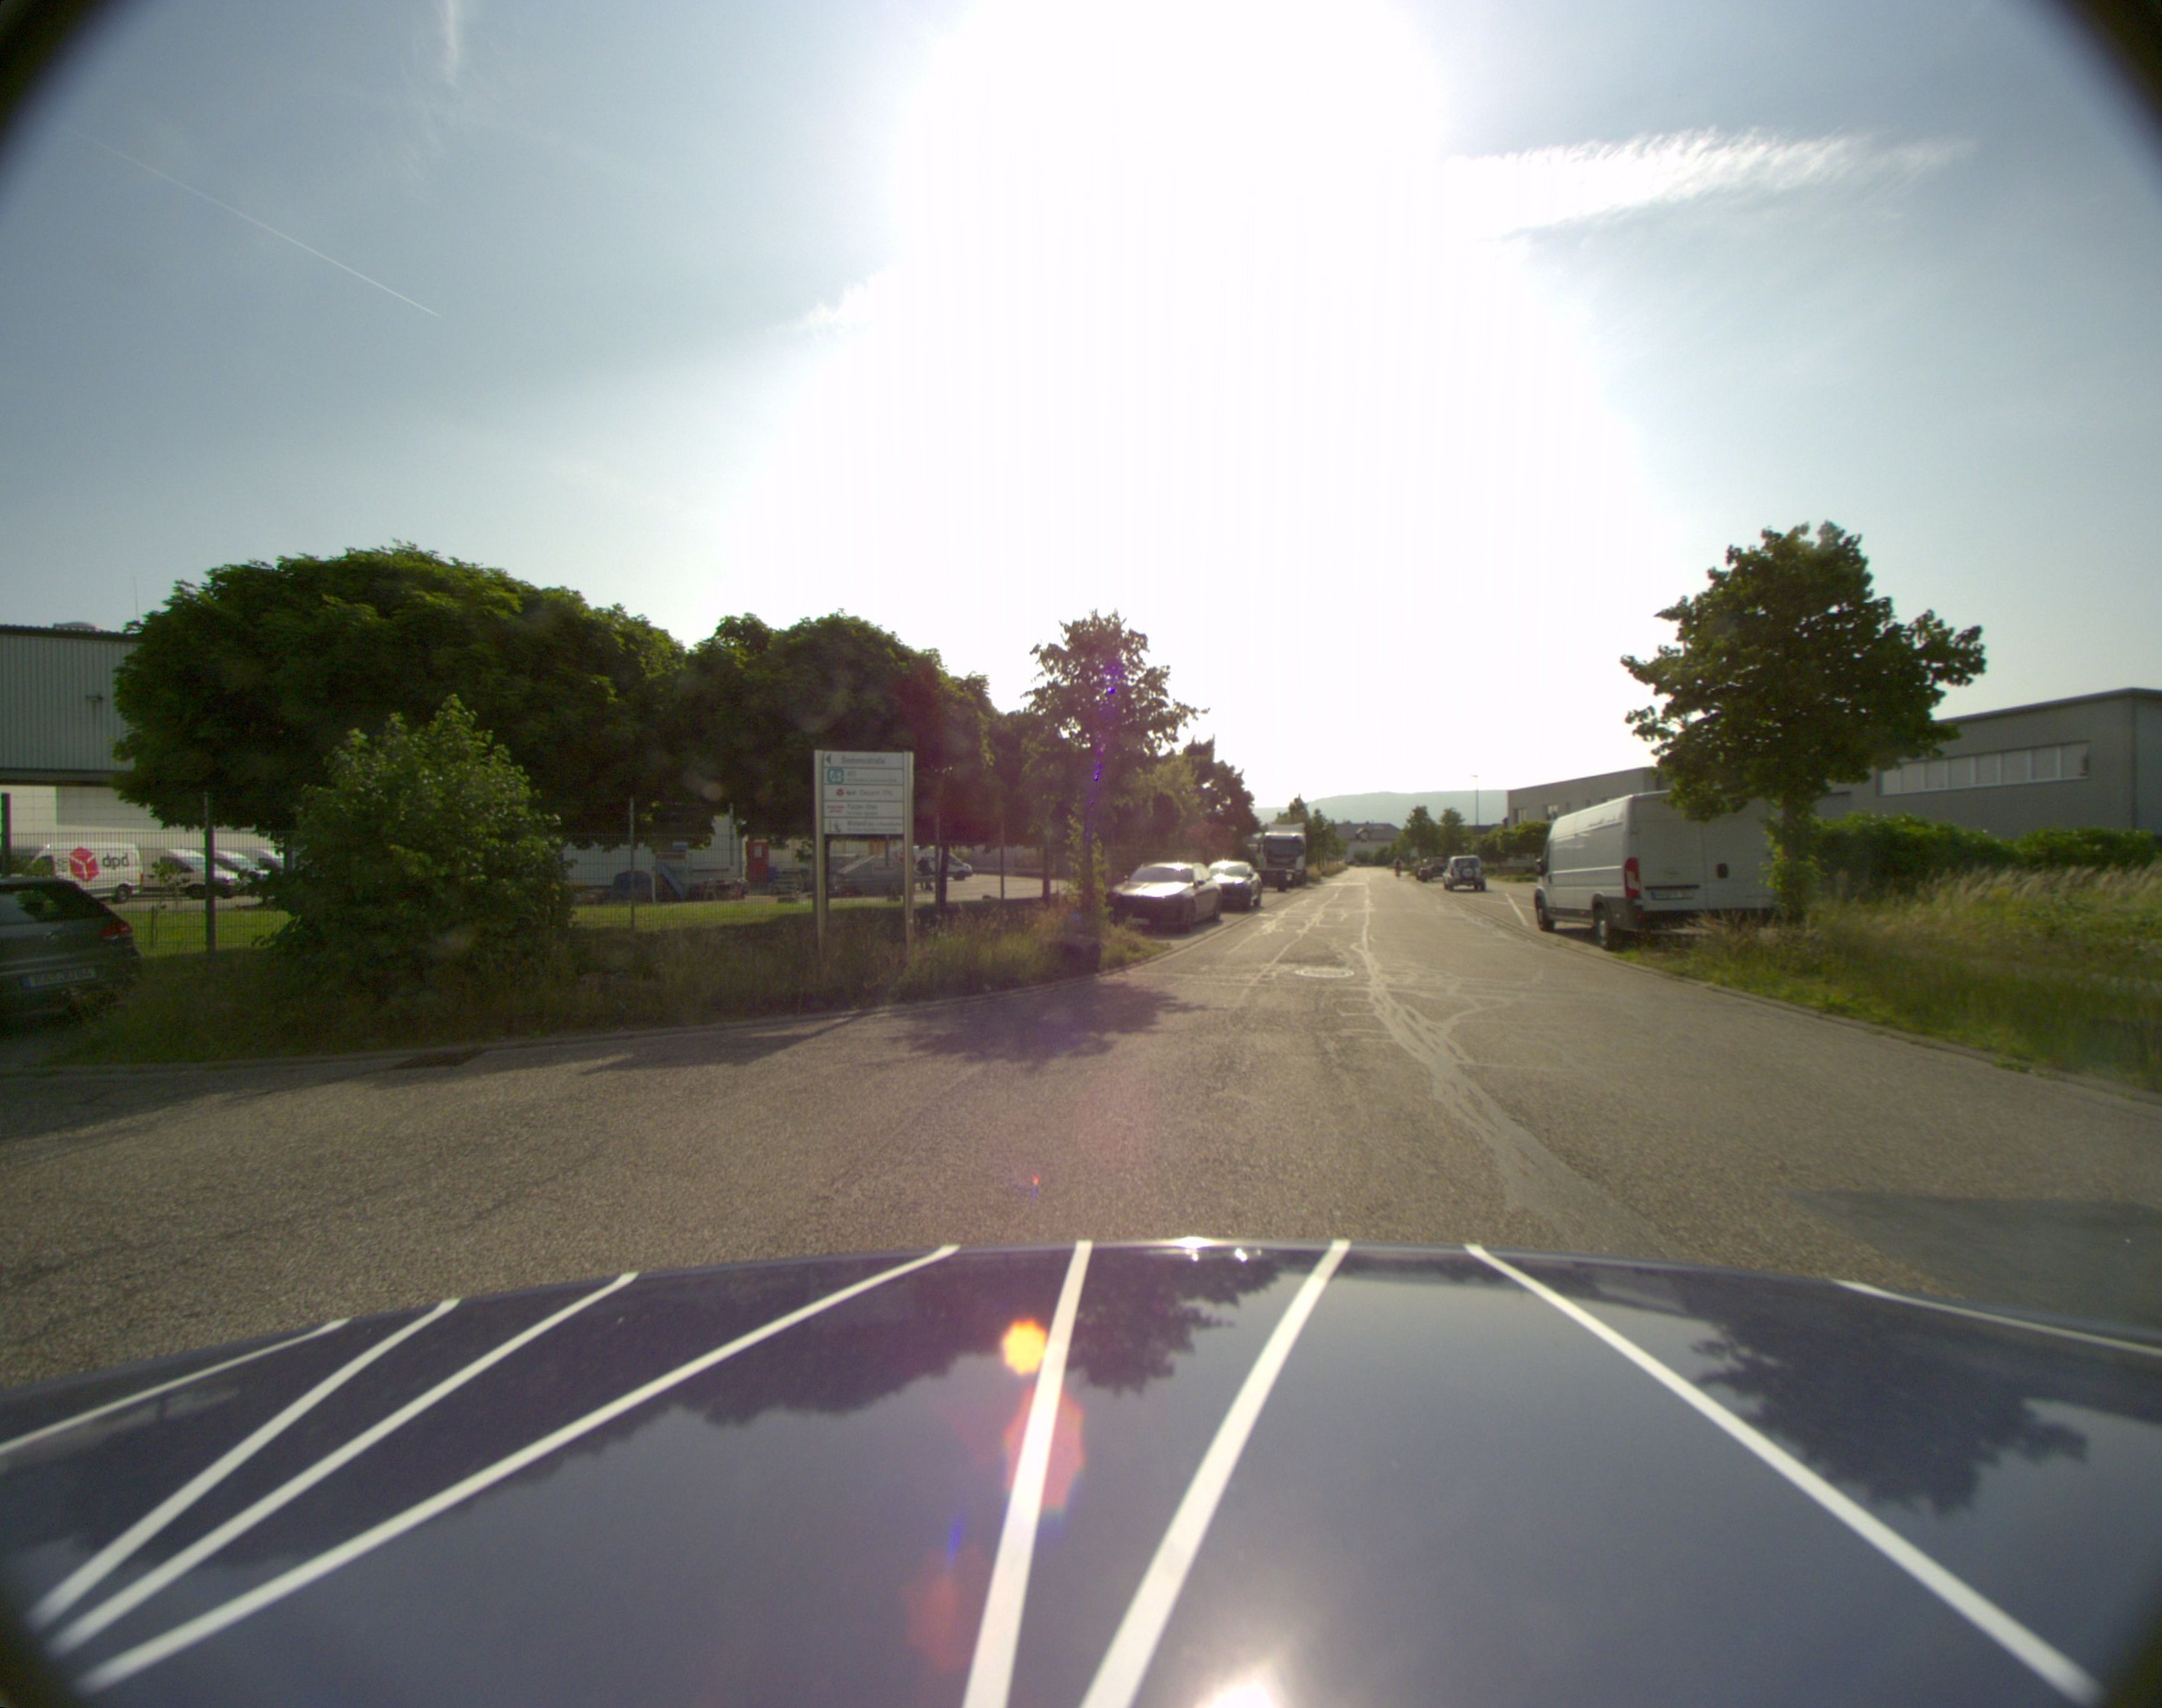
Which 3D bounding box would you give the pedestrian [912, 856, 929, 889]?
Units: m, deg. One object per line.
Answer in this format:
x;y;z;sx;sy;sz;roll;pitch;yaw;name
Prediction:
-8.506;0.967;40.348;0.859;1.712;0.631;0;0;-11;pedestrian

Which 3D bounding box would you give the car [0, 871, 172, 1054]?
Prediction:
-11.427;1.000;6.968;3.958;1.515;1.727;-1;3;-1;car

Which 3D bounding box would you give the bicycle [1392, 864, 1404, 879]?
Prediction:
24.552;1.368;58.909;0.716;1.116;2.223;2;1;21;bicycle

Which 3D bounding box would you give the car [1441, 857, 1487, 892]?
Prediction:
18.717;0.979;37.249;1.599;1.641;3.650;-1;-1;21;car

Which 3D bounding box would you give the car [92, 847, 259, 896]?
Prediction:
-43.337;0.813;36.508;4.852;2.275;1.928;0;0;-18;car

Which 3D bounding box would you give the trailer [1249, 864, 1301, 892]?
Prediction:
10.426;1.213;40.445;1.940;1.228;7.462;2;0;20;trailer

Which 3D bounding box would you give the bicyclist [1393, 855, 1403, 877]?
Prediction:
24.557;0.939;58.901;0.640;1.709;1.167;0;0;21;bicyclist

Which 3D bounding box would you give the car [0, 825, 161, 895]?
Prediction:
-40.216;0.186;29.750;2.176;2.503;6.688;-1;1;-20;car

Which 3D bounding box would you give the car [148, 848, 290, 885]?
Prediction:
-47.231;0.699;41.768;4.852;1.953;1.928;0;0;-18;car

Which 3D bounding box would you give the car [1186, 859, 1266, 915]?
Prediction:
4.924;1.021;25.438;1.882;1.565;4.119;3;1;21;car

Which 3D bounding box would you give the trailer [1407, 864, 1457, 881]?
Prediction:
25.366;1.315;55.234;2.548;1.068;9.747;-2;-1;21;trailer

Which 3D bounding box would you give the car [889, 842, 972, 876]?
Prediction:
-12.041;0.404;60.863;6.280;2.633;2.209;0;0;-21;car

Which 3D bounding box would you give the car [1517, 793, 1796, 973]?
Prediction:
10.228;0.453;14.331;2.104;2.579;6.513;-1;-1;18;car

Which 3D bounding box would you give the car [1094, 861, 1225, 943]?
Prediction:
2.100;1.030;18.565;1.882;1.565;5.126;1;1;21;car

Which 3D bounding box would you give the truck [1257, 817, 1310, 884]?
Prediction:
12.915;-0.224;48.227;2.694;3.941;6.057;2;1;19;truck

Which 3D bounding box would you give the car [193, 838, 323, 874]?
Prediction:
-48.292;0.123;44.720;4.852;2.072;1.928;0;0;-18;car
